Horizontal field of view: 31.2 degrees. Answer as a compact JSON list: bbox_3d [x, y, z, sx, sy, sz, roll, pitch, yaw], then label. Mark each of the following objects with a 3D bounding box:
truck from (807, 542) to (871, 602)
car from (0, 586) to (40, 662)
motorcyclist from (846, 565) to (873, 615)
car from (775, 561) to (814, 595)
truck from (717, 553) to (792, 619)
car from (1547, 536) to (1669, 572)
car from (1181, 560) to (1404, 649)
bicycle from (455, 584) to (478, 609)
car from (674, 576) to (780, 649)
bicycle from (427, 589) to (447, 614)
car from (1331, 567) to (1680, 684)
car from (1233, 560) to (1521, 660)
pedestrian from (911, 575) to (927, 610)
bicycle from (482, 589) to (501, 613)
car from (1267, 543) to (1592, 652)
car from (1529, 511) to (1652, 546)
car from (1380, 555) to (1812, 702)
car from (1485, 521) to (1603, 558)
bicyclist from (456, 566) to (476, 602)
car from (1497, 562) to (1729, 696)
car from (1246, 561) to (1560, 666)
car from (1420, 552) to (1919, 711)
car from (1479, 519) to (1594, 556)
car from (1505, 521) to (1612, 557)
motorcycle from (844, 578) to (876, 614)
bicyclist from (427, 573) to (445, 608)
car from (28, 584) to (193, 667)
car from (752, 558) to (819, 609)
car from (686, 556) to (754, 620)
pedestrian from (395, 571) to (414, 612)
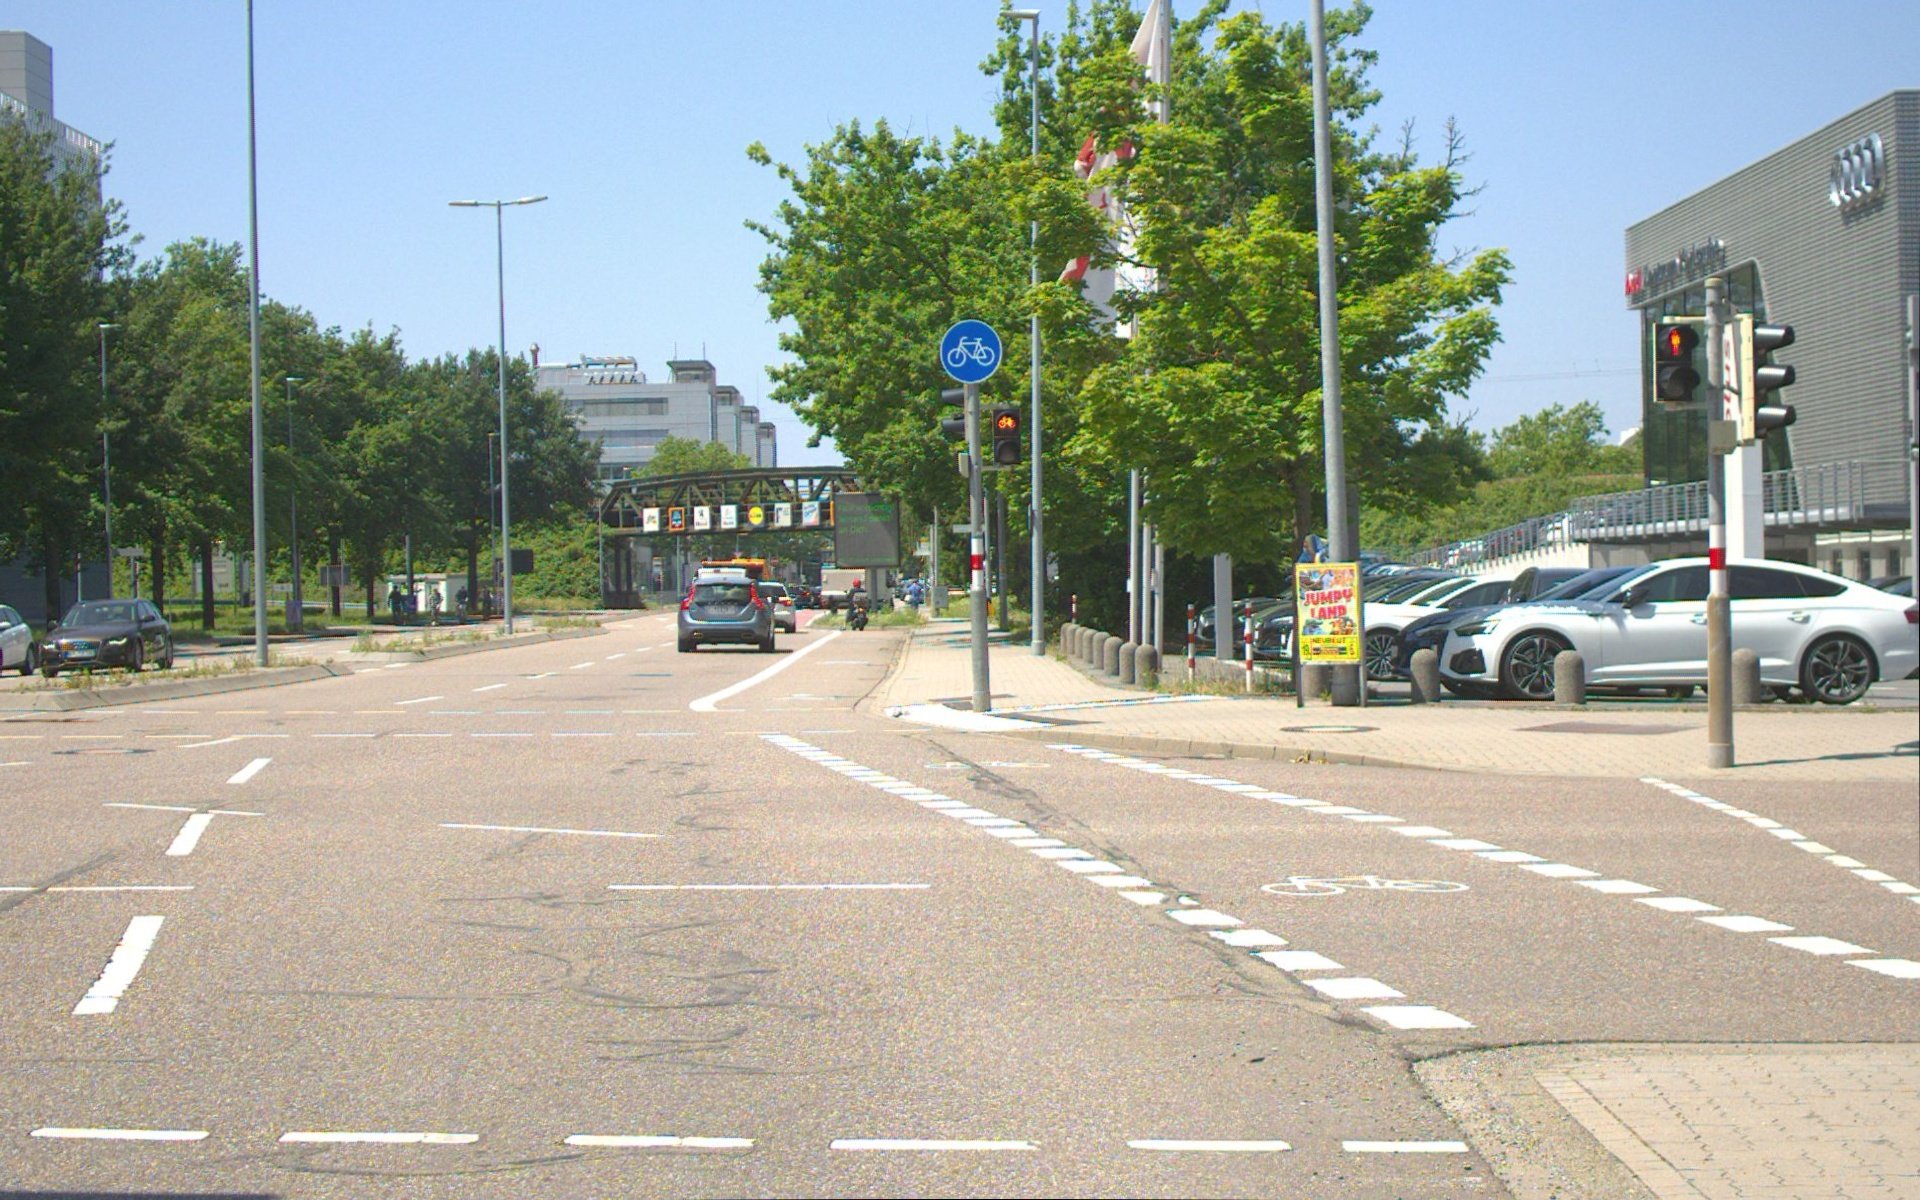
[{"bbox_3d":[-5.824,-1.371,166.322,2.615,2.841,5.614,1,1,3],"label":"truck"},{"bbox_3d":[-19.504,0.492,67.634,1.743,1.481,4.000,-2,0,-1],"label":"car"},{"bbox_3d":[-3.102,-0.315,105.963,0.719,1.524,0.871,1,0,-10],"label":"motorcyclist"},{"bbox_3d":[-10.233,-1.388,212.831,1.994,2.007,4.000,-2,0,2],"label":"car"},{"bbox_3d":[-7.748,-0.541,130.073,2.458,2.402,7.134,1,1,-1],"label":"truck"},{"bbox_3d":[21.967,-1.552,116.566,3.724,1.127,1.684,1,0,-5],"label":"car"},{"bbox_3d":[5.805,0.074,60.306,3.681,1.448,1.834,1,0,0],"label":"car"},{"bbox_3d":[-22.920,-0.173,159.723,0.739,1.121,2.435,-1,0,-2],"label":"bicycle"},{"bbox_3d":[-4.597,0.219,68.453,1.900,1.371,4.232,-1,0,-1],"label":"car"},{"bbox_3d":[-23.696,0.054,155.759,0.637,1.130,1.971,-1,0,-1],"label":"bicycle"},{"bbox_3d":[6.880,0.310,43.688,4.096,1.360,1.874,1,0,0],"label":"car"},{"bbox_3d":[6.295,0.146,52.226,4.101,1.400,1.869,1,0,0],"label":"car"},{"bbox_3d":[-1.645,-0.301,138.228,0.623,1.370,0.564,-1,0,-2],"label":"pedestrian"},{"bbox_3d":[-23.466,0.023,172.271,0.629,1.155,2.117,-3,0,-1],"label":"bicycle"},{"bbox_3d":[6.297,-0.041,46.445,4.099,1.344,1.869,1,0,0],"label":"car"},{"bbox_3d":[22.126,-2.514,120.737,3.938,1.207,1.718,0,0,-5],"label":"car"},{"bbox_3d":[6.537,0.285,35.649,4.096,1.385,1.869,1,0,0],"label":"car"},{"bbox_3d":[21.784,-2.256,128.296,3.986,1.307,1.798,1,0,-5],"label":"car"},{"bbox_3d":[-22.928,-0.740,159.554,0.745,1.680,0.952,-1,0,-2],"label":"bicyclist"},{"bbox_3d":[7.462,0.299,39.690,1.863,1.415,4.662,1,0,1],"label":"car"},{"bbox_3d":[6.306,0.186,49.294,4.226,1.385,1.869,1,0,0],"label":"car"},{"bbox_3d":[6.871,0.291,33.263,4.592,1.385,1.869,1,0,2],"label":"car"},{"bbox_3d":[21.991,-2.386,131.310,3.986,1.307,1.798,-1,0,-5],"label":"car"},{"bbox_3d":[21.757,-2.222,125.039,3.523,1.235,1.677,1,0,-5],"label":"car"},{"bbox_3d":[-3.090,-0.115,105.914,0.716,1.101,1.831,1,0,-10],"label":"motorcycle"},{"bbox_3d":[-23.715,-0.439,155.718,0.637,1.577,0.884,-1,0,1],"label":"bicyclist"},{"bbox_3d":[-16.064,0.472,65.231,1.726,1.441,4.719,-3,0,2],"label":"car"},{"bbox_3d":[-4.894,-0.478,96.647,1.744,1.391,3.529,0,1,-1],"label":"car"},{"bbox_3d":[-7.840,-0.399,112.469,1.993,2.007,4.000,-1,0,-1],"label":"car"},{"bbox_3d":[-25.769,-0.382,159.568,0.743,1.878,0.577,-1,0,0],"label":"pedestrian"}]
